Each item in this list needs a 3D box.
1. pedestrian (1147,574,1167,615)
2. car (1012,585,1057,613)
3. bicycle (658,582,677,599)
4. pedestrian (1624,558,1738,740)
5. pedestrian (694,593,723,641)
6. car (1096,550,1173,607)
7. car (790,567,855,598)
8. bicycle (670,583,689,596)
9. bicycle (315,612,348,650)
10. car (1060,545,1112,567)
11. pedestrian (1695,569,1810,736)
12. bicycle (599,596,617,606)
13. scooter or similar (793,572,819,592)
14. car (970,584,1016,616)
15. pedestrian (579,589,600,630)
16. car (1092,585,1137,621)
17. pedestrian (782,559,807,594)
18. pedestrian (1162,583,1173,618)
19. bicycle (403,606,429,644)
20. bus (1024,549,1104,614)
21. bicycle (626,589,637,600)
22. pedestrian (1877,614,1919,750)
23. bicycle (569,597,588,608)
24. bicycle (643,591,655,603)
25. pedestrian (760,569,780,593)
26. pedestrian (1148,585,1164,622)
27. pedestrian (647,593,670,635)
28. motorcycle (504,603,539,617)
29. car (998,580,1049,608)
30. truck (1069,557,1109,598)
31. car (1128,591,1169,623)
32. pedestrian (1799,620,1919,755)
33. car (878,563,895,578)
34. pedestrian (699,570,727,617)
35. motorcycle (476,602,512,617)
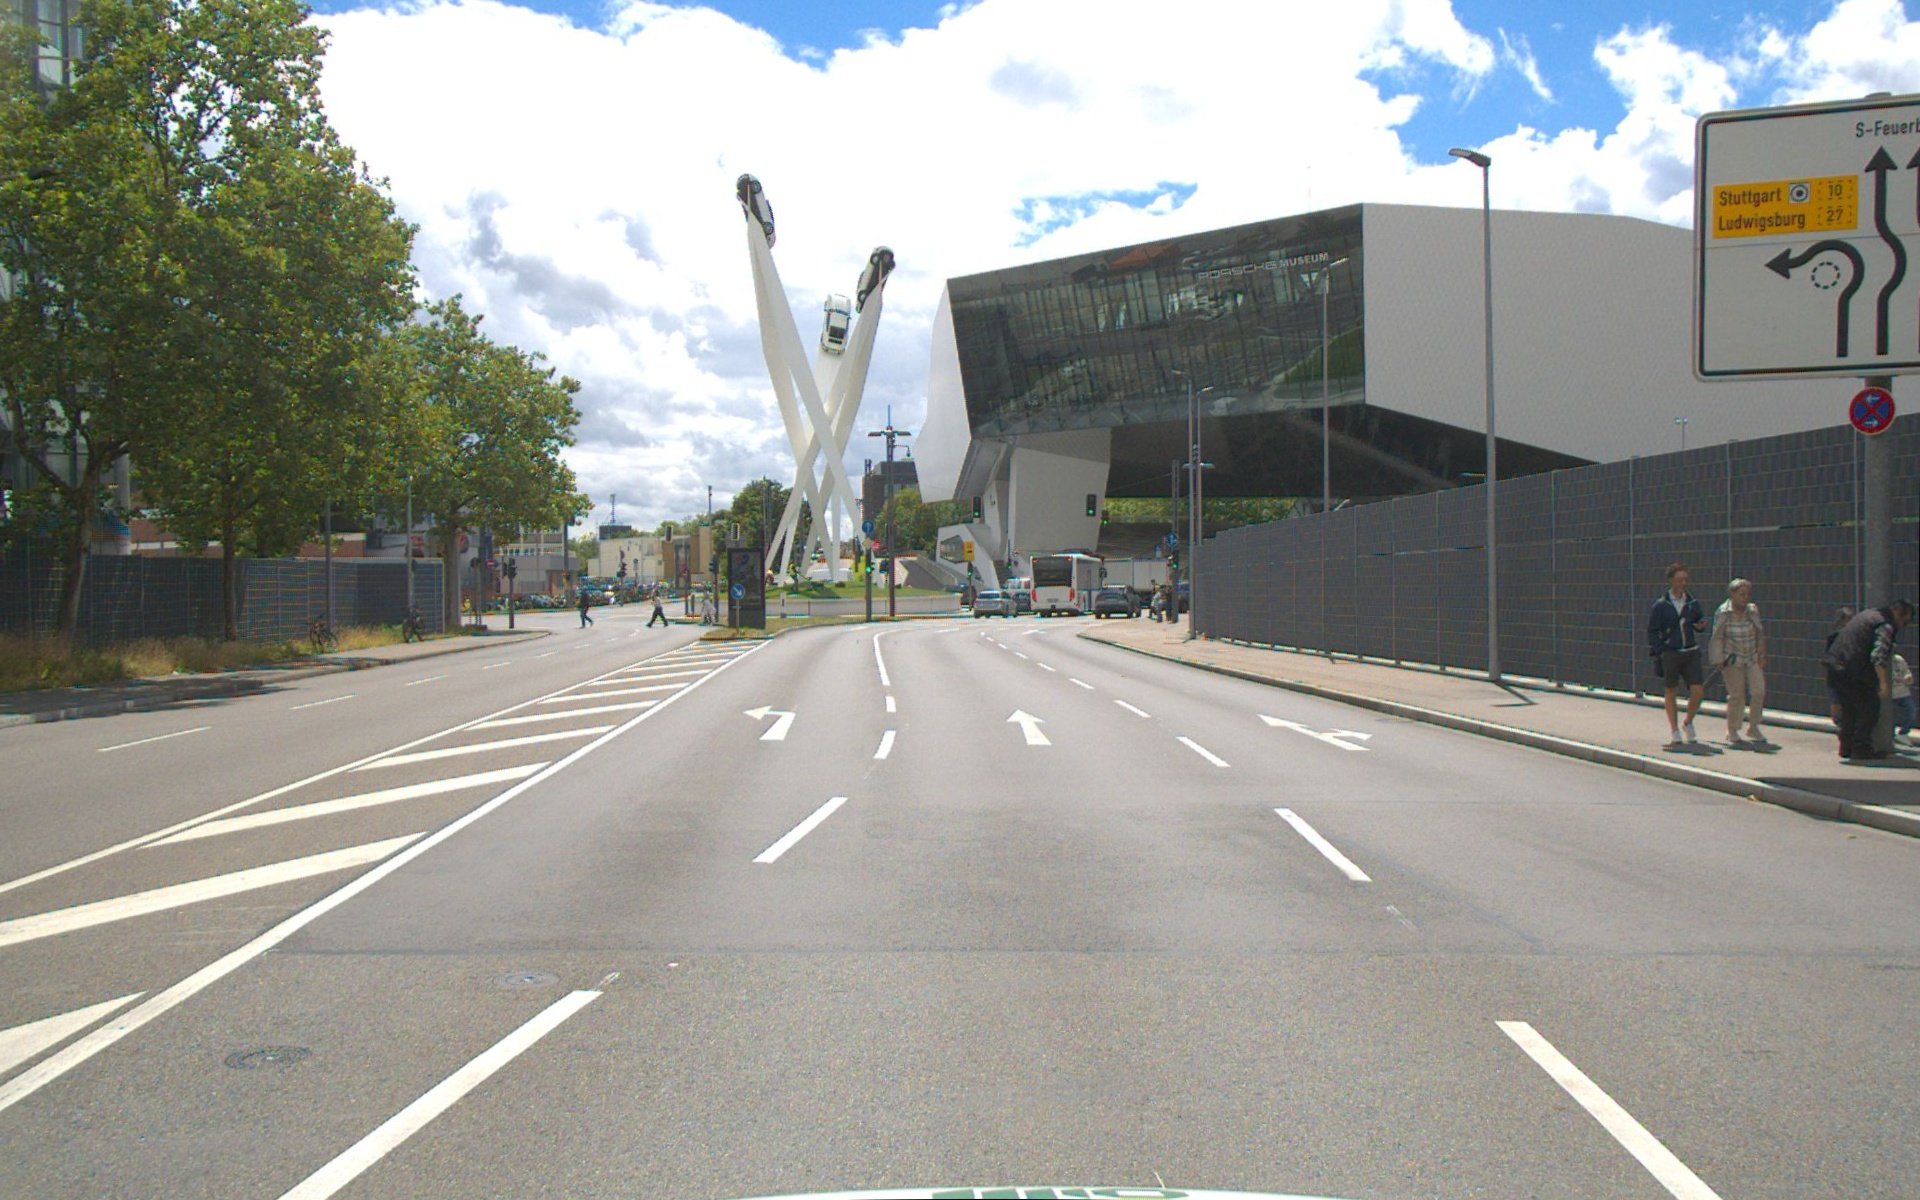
[{"bbox_3d":[9.305,-0.265,77.998,0.649,1.899,0.789,1,-1,-17],"label":"pedestrian"},{"bbox_3d":[4.650,-0.032,102.718,1.951,1.665,4.003,0,0,15],"label":"car"},{"bbox_3d":[-25.432,-0.821,143.892,1.574,1.407,0.492,1,-1,-4],"label":"bicycle"},{"bbox_3d":[7.104,0.474,16.330,0.779,1.751,0.731,1,-1,-4],"label":"pedestrian"},{"bbox_3d":[-11.120,0.741,73.021,0.932,2.091,0.951,0,-1,15],"label":"pedestrian"},{"bbox_3d":[11.592,-1.369,110.815,3.271,3.565,9.329,1,0,-6],"label":"car"},{"bbox_3d":[-10.213,-1.272,123.232,4.542,2.209,2.001,1,-1,4],"label":"car"},{"bbox_3d":[-25.677,-0.960,151.424,1.703,1.202,0.669,1,1,-5],"label":"bicycle"},{"bbox_3d":[-17.160,0.845,45.162,0.290,1.023,1.253,0,-1,7],"label":"bicycle"},{"bbox_3d":[11.302,-3.961,148.831,4.438,1.418,1.988,10,11,43],"label":"car"},{"bbox_3d":[7.892,0.515,16.492,0.779,1.625,0.731,1,-1,-4],"label":"pedestrian"},{"bbox_3d":[-29.710,0.079,139.641,0.482,0.881,1.607,0,-1,31],"label":"bicycle"},{"bbox_3d":[-8.683,-1.017,93.255,1.373,1.043,0.550,-2,6,-4],"label":"scooter or similar"},{"bbox_3d":[1.802,0.015,89.035,1.951,1.665,4.003,1,0,9],"label":"car"},{"bbox_3d":[-16.640,0.425,74.237,0.849,1.805,1.030,1,-1,-17],"label":"pedestrian"},{"bbox_3d":[7.681,0.116,82.015,1.951,1.665,4.004,1,1,9],"label":"car"},{"bbox_3d":[-9.337,-1.325,93.122,1.257,1.847,0.986,-4,4,-7],"label":"pedestrian"},{"bbox_3d":[9.672,0.033,77.120,0.454,1.644,0.663,1,-1,-1],"label":"pedestrian"},{"bbox_3d":[-16.968,0.767,51.614,0.290,1.151,1.484,1,-1,0],"label":"bicycle"},{"bbox_3d":[5.968,-0.920,92.899,3.006,3.421,12.233,0,0,10],"label":"bus"},{"bbox_3d":[-28.926,-0.489,145.688,0.480,0.881,1.613,-1,2,8],"label":"bicycle"},{"bbox_3d":[8.944,0.743,15.207,0.699,1.228,0.599,1,-1,0],"label":"pedestrian"},{"bbox_3d":[-31.286,0.178,135.611,1.576,0.881,0.491,0,-1,31],"label":"bicycle"},{"bbox_3d":[-26.267,-0.277,139.629,0.480,0.881,1.613,-1,3,8],"label":"bicycle"},{"bbox_3d":[-12.038,-1.195,104.710,0.835,1.431,0.965,-7,-3,19],"label":"pedestrian"},{"bbox_3d":[8.792,0.149,74.178,0.645,1.636,0.823,0,-1,8],"label":"pedestrian"},{"bbox_3d":[-13.071,0.607,71.614,0.849,1.805,1.030,1,-1,-17],"label":"pedestrian"},{"bbox_3d":[-37.779,0.859,142.508,2.841,1.217,0.921,0,-1,15],"label":"motorcycle"},{"bbox_3d":[4.496,-0.413,117.983,1.971,1.937,3.963,1,-1,-28],"label":"car"},{"bbox_3d":[8.481,-1.438,108.973,2.162,2.560,5.132,1,0,-1],"label":"truck"},{"bbox_3d":[10.002,0.379,87.510,1.951,1.665,4.003,1,0,9],"label":"car"},{"bbox_3d":[8.187,0.773,14.919,0.742,1.169,0.971,1,-1,0],"label":"pedestrian"},{"bbox_3d":[-8.715,-3.472,195.671,1.953,1.664,4.655,1,2,-2],"label":"car"},{"bbox_3d":[-11.064,-0.269,74.138,0.932,2.091,0.951,0,-1,15],"label":"pedestrian"},{"bbox_3d":[-39.202,0.818,139.018,2.841,1.217,0.921,0,-1,15],"label":"motorcycle"}]
